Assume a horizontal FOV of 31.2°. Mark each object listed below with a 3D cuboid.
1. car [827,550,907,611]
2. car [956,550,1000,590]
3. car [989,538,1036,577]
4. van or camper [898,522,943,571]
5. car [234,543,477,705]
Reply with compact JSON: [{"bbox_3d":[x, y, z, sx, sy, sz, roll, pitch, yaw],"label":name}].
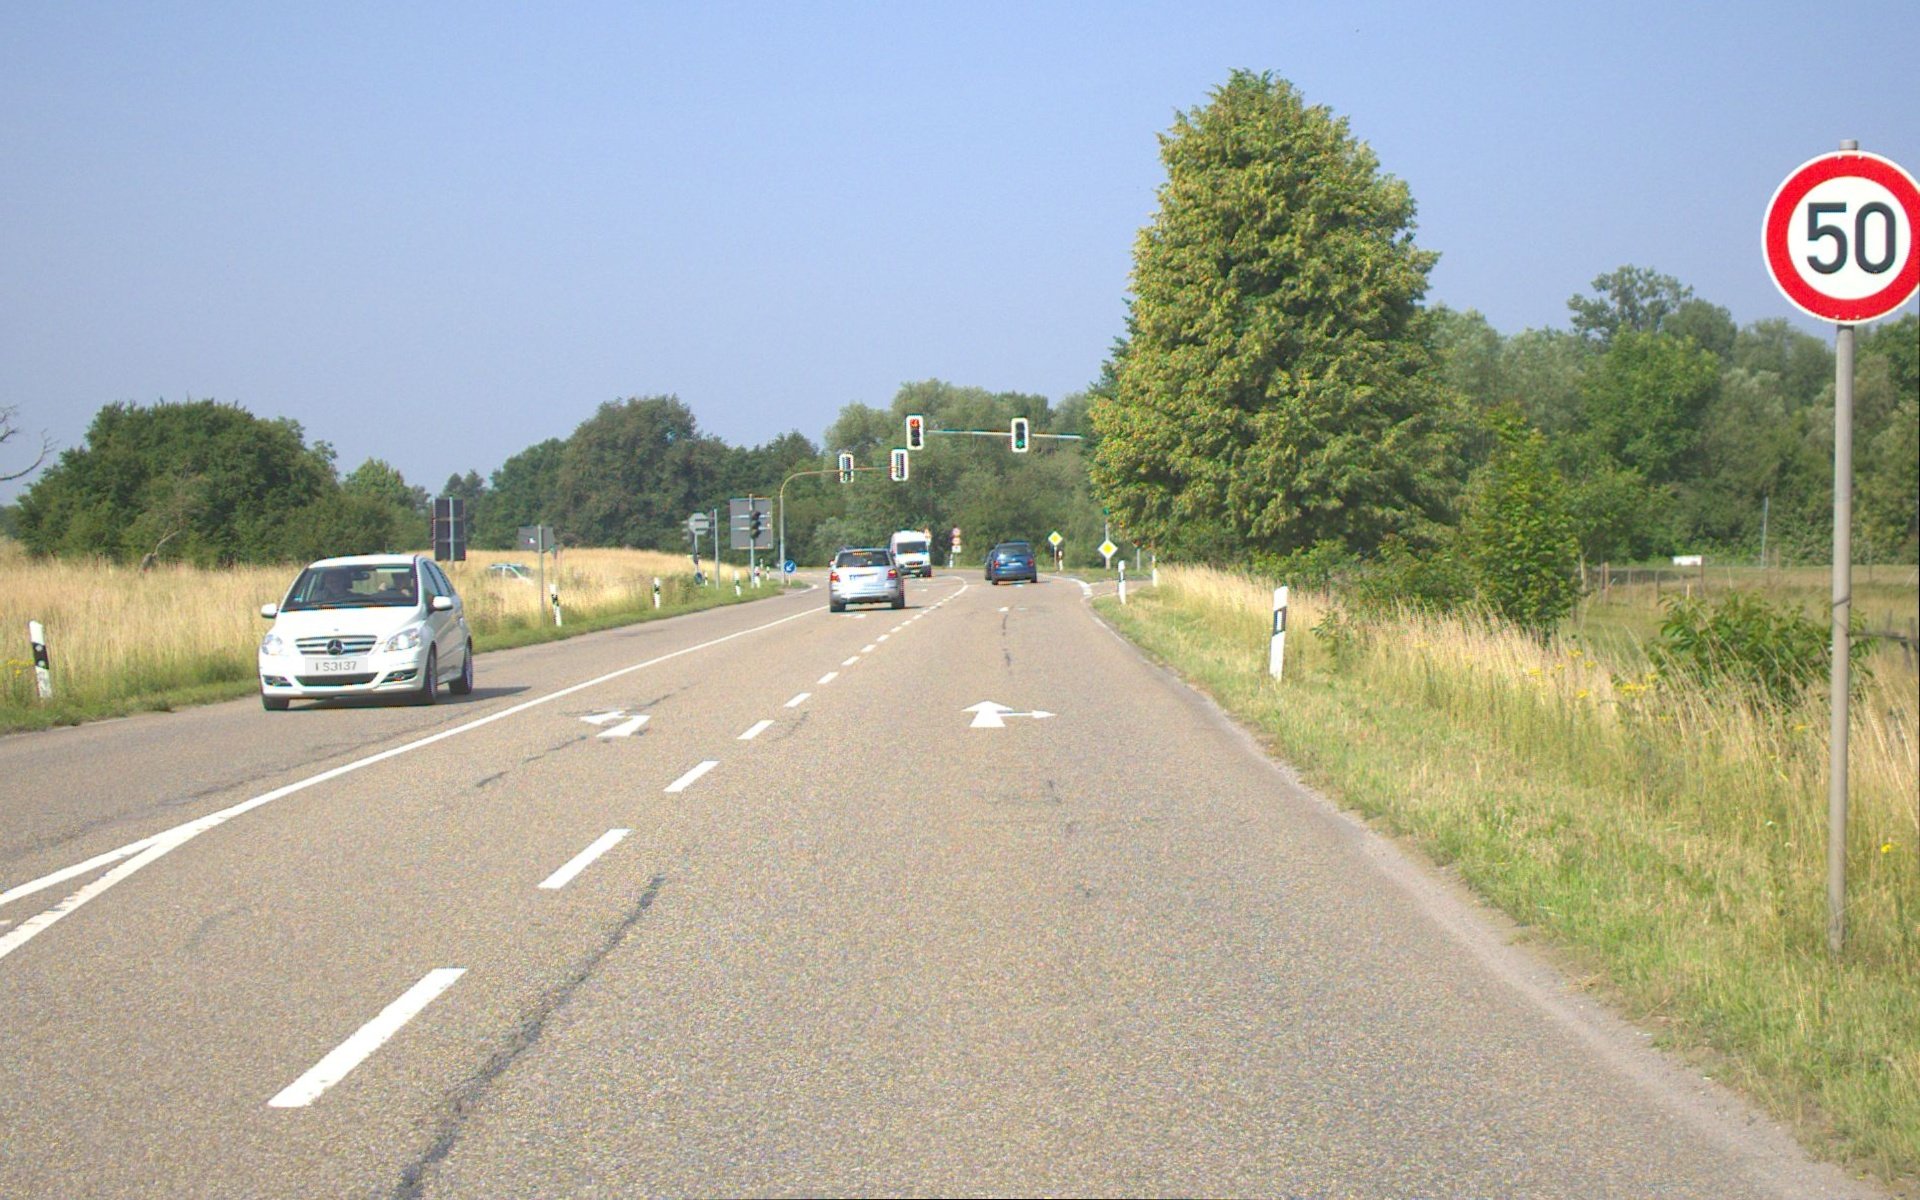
[{"bbox_3d":[-2.395,-0.532,89.430,1.899,1.506,4.000,1,1,0],"label":"car"},{"bbox_3d":[0.849,-1.403,161.621,1.993,1.809,4.000,1,1,1],"label":"car"},{"bbox_3d":[2.089,-1.707,136.670,1.816,1.515,4.000,-1,1,1],"label":"car"},{"bbox_3d":[-2.229,-3.067,196.124,2.265,2.700,5.262,1,1,2],"label":"van or camper"},{"bbox_3d":[-6.411,0.209,36.880,1.812,1.579,4.225,-2,1,0],"label":"car"}]
